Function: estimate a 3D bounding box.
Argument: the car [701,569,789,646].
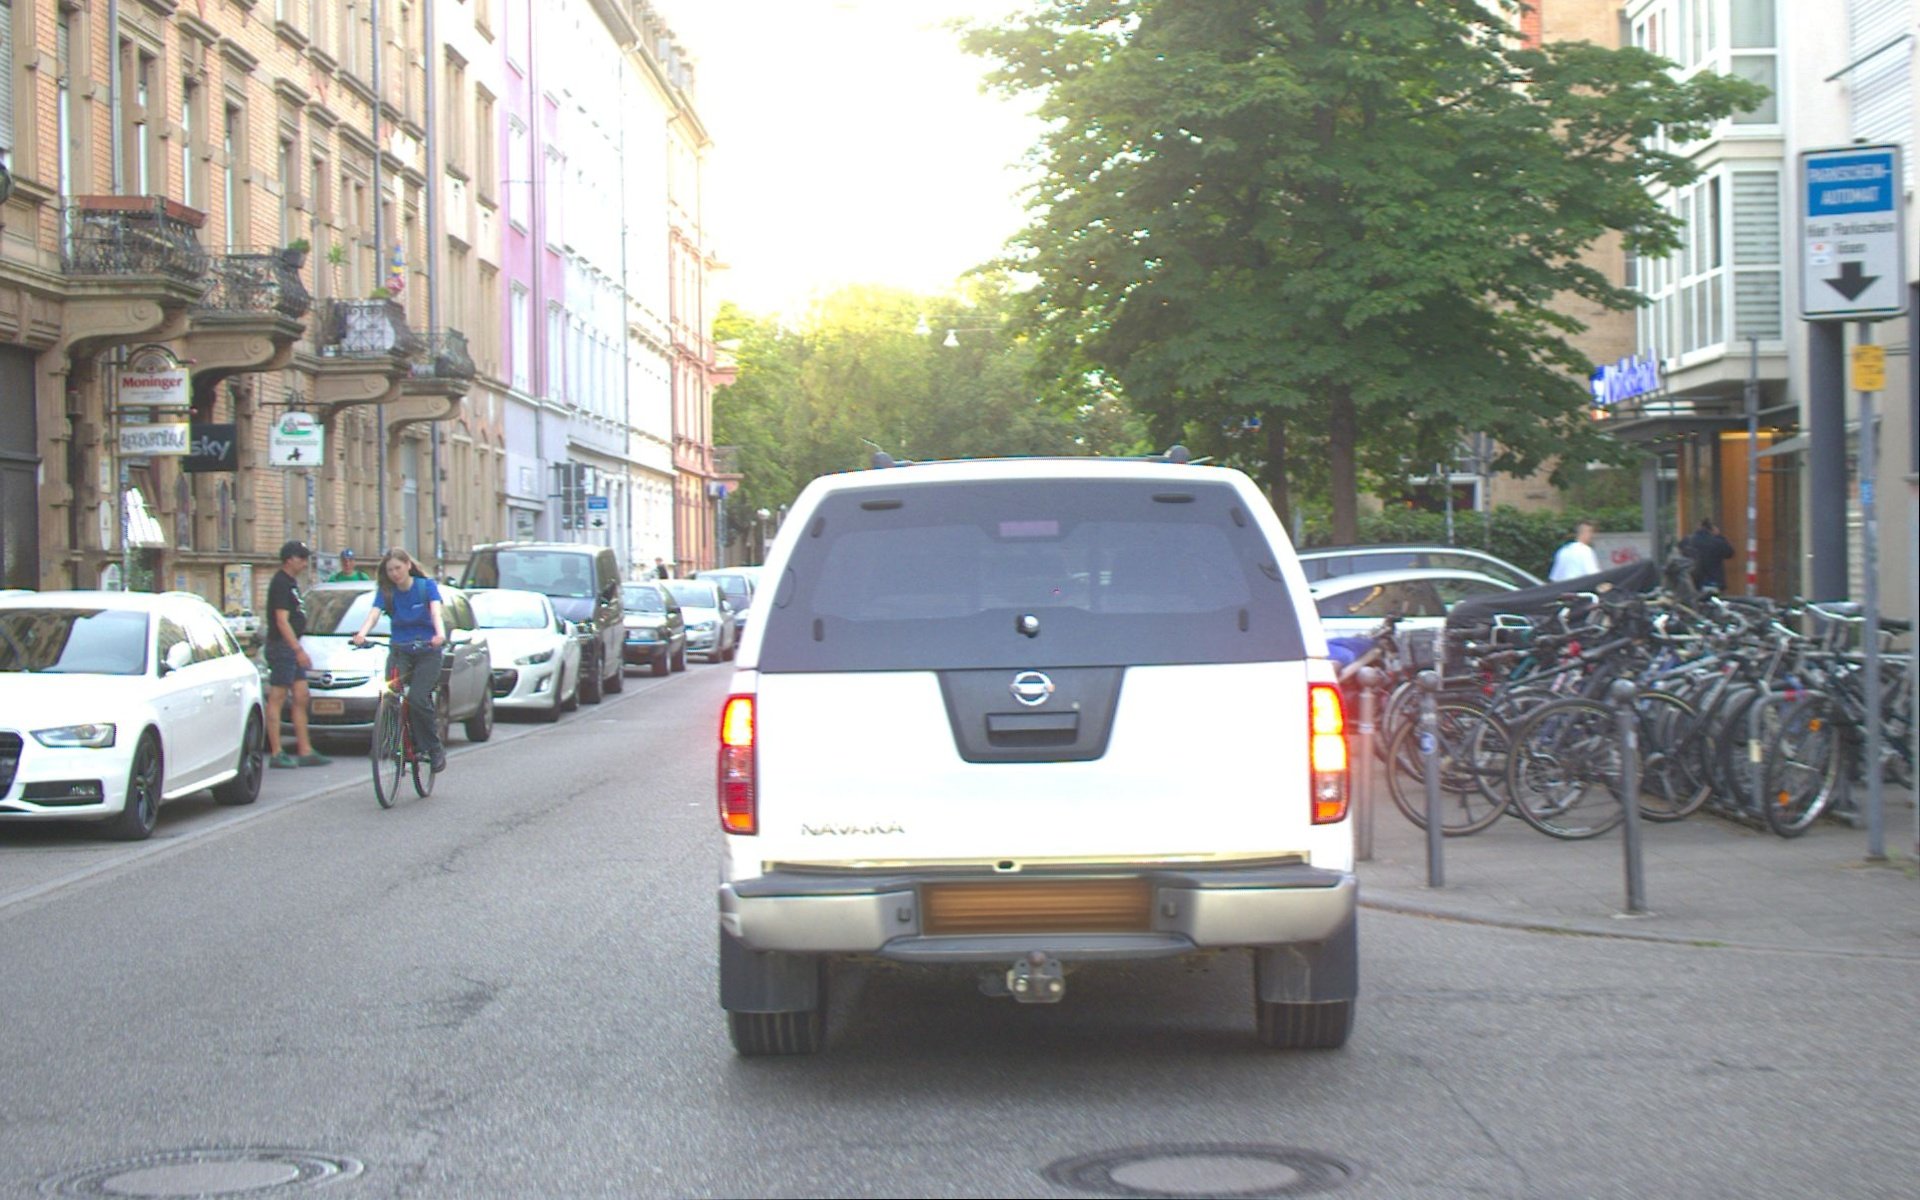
[{"bbox_3d":[-4.838,0.160,77.844,1.844,1.653,4.253,-1,0,-2],"label":"car"}]

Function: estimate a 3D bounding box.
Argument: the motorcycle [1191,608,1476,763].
[{"bbox_3d":[2.914,0.656,26.820,2.057,1.074,0.664,-3,0,-14],"label":"motorcycle"}]

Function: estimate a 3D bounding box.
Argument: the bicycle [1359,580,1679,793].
[{"bbox_3d":[3.514,0.541,21.755,1.869,1.178,0.742,-5,-1,6],"label":"bicycle"}]

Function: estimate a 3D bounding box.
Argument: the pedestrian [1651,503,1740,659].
[{"bbox_3d":[8.334,-0.212,38.997,0.727,1.710,0.963,-3,0,1],"label":"pedestrian"}]

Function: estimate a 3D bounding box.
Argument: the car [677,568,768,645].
[{"bbox_3d":[-4.922,0.107,71.635,1.636,1.560,3.781,0,0,0],"label":"car"}]

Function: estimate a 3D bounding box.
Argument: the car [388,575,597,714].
[{"bbox_3d":[-5.152,0.453,38.403,1.783,1.418,4.485,1,1,-1],"label":"car"}]

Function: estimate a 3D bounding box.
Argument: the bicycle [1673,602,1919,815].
[{"bbox_3d":[4.745,0.561,18.347,1.722,1.050,0.653,-3,0,4],"label":"bicycle"}]

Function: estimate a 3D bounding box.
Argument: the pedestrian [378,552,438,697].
[{"bbox_3d":[-6.895,0.294,42.941,0.605,1.766,0.777,2,1,-3],"label":"pedestrian"}]

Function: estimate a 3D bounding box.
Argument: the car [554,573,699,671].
[{"bbox_3d":[-5.074,0.323,52.827,1.736,1.413,4.778,1,0,0],"label":"car"}]

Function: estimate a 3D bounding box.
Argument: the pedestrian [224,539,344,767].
[{"bbox_3d":[-5.294,0.414,26.967,0.554,1.749,1.022,0,-1,13],"label":"pedestrian"}]

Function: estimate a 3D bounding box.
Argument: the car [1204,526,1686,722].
[{"bbox_3d":[4.685,0.222,33.653,4.399,1.642,1.746,-3,1,1],"label":"car"}]

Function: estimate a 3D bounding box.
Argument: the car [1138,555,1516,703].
[{"bbox_3d":[4.099,0.308,38.835,3.987,1.451,1.828,-3,1,-1],"label":"car"}]

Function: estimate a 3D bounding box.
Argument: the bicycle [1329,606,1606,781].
[{"bbox_3d":[3.400,0.623,23.141,1.719,1.028,0.667,-5,-1,4],"label":"bicycle"}]

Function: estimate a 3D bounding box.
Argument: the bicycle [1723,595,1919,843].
[{"bbox_3d":[4.652,0.543,16.651,1.722,1.128,0.579,-3,0,-11],"label":"bicycle"}]

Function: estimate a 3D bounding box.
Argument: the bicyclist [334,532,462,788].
[{"bbox_3d":[-3.671,0.377,22.499,0.645,1.615,0.918,-2,1,-2],"label":"bicyclist"}]

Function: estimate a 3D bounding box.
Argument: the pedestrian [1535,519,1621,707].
[{"bbox_3d":[5.815,0.122,32.365,0.625,1.747,0.588,0,-1,-10],"label":"pedestrian"}]

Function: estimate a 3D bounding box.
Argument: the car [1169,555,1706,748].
[{"bbox_3d":[4.238,0.438,30.898,4.422,1.450,1.780,-3,1,-5],"label":"car"}]

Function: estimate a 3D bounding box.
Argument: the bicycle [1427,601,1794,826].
[{"bbox_3d":[3.529,0.607,18.749,1.809,1.114,0.707,-3,0,-1],"label":"bicycle"}]

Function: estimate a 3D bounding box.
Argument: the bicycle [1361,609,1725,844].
[{"bbox_3d":[3.030,0.650,17.969,1.722,1.114,0.707,-3,0,-1],"label":"bicycle"}]

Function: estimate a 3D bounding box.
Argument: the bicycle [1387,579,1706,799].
[{"bbox_3d":[3.571,0.534,20.911,1.789,1.178,0.733,-5,-1,12],"label":"bicycle"}]

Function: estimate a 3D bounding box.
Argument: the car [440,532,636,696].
[{"bbox_3d":[-5.262,0.146,43.472,1.993,1.917,4.952,1,1,-2],"label":"car"}]

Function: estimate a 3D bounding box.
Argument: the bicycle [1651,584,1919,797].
[{"bbox_3d":[4.861,0.499,19.502,1.722,1.114,0.653,-3,0,4],"label":"bicycle"}]

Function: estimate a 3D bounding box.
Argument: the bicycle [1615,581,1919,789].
[{"bbox_3d":[4.761,0.489,20.074,1.722,1.114,0.653,-3,0,4],"label":"bicycle"}]

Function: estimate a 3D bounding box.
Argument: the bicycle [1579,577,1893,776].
[{"bbox_3d":[4.763,0.463,21.157,1.722,1.114,0.654,-3,0,-2],"label":"bicycle"}]

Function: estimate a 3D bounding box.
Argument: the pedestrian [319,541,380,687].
[{"bbox_3d":[-7.578,0.162,42.679,0.580,1.765,0.998,2,1,-3],"label":"pedestrian"}]

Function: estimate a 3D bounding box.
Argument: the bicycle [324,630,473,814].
[{"bbox_3d":[-3.649,0.768,22.486,0.645,1.077,2.169,-2,1,-2],"label":"bicycle"}]

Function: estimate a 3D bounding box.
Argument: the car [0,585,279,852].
[{"bbox_3d":[-5.537,0.640,21.143,1.758,1.407,4.508,0,1,1],"label":"car"}]

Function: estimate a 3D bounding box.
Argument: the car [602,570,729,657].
[{"bbox_3d":[-5.261,0.224,61.874,1.834,1.453,4.206,2,0,1],"label":"car"}]

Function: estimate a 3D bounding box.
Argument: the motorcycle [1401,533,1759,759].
[{"bbox_3d":[4.642,0.344,25.881,2.492,1.544,0.824,-3,0,4],"label":"motorcycle"}]

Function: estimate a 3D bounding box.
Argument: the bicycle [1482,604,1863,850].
[{"bbox_3d":[3.522,0.619,17.098,1.722,1.114,0.707,-3,0,4],"label":"bicycle"}]

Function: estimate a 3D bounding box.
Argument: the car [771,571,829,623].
[{"bbox_3d":[-4.909,-0.098,105.883,1.698,1.547,4.022,1,0,-2],"label":"car"}]

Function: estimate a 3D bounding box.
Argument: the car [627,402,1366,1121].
[{"bbox_3d":[0.300,0.409,11.598,1.911,1.847,5.269,1,0,5],"label":"car"}]

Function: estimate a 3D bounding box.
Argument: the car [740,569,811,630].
[{"bbox_3d":[-5.026,-0.035,94.198,1.698,1.615,4.022,1,0,0],"label":"car"}]

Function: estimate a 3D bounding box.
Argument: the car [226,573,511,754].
[{"bbox_3d":[-5.197,0.514,30.691,1.717,1.452,4.000,1,1,2],"label":"car"}]

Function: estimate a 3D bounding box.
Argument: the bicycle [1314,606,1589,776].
[{"bbox_3d":[3.384,0.622,23.763,1.772,1.019,0.565,-5,-1,4],"label":"bicycle"}]

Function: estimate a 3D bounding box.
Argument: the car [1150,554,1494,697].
[{"bbox_3d":[4.325,0.290,41.411,3.793,1.447,1.736,-4,1,-4],"label":"car"}]

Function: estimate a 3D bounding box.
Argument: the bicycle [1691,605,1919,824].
[{"bbox_3d":[4.701,0.568,17.676,1.722,1.050,0.653,-3,0,4],"label":"bicycle"}]

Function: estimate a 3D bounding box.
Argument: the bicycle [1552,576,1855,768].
[{"bbox_3d":[4.718,0.450,21.879,1.722,1.114,0.654,-3,0,-2],"label":"bicycle"}]
